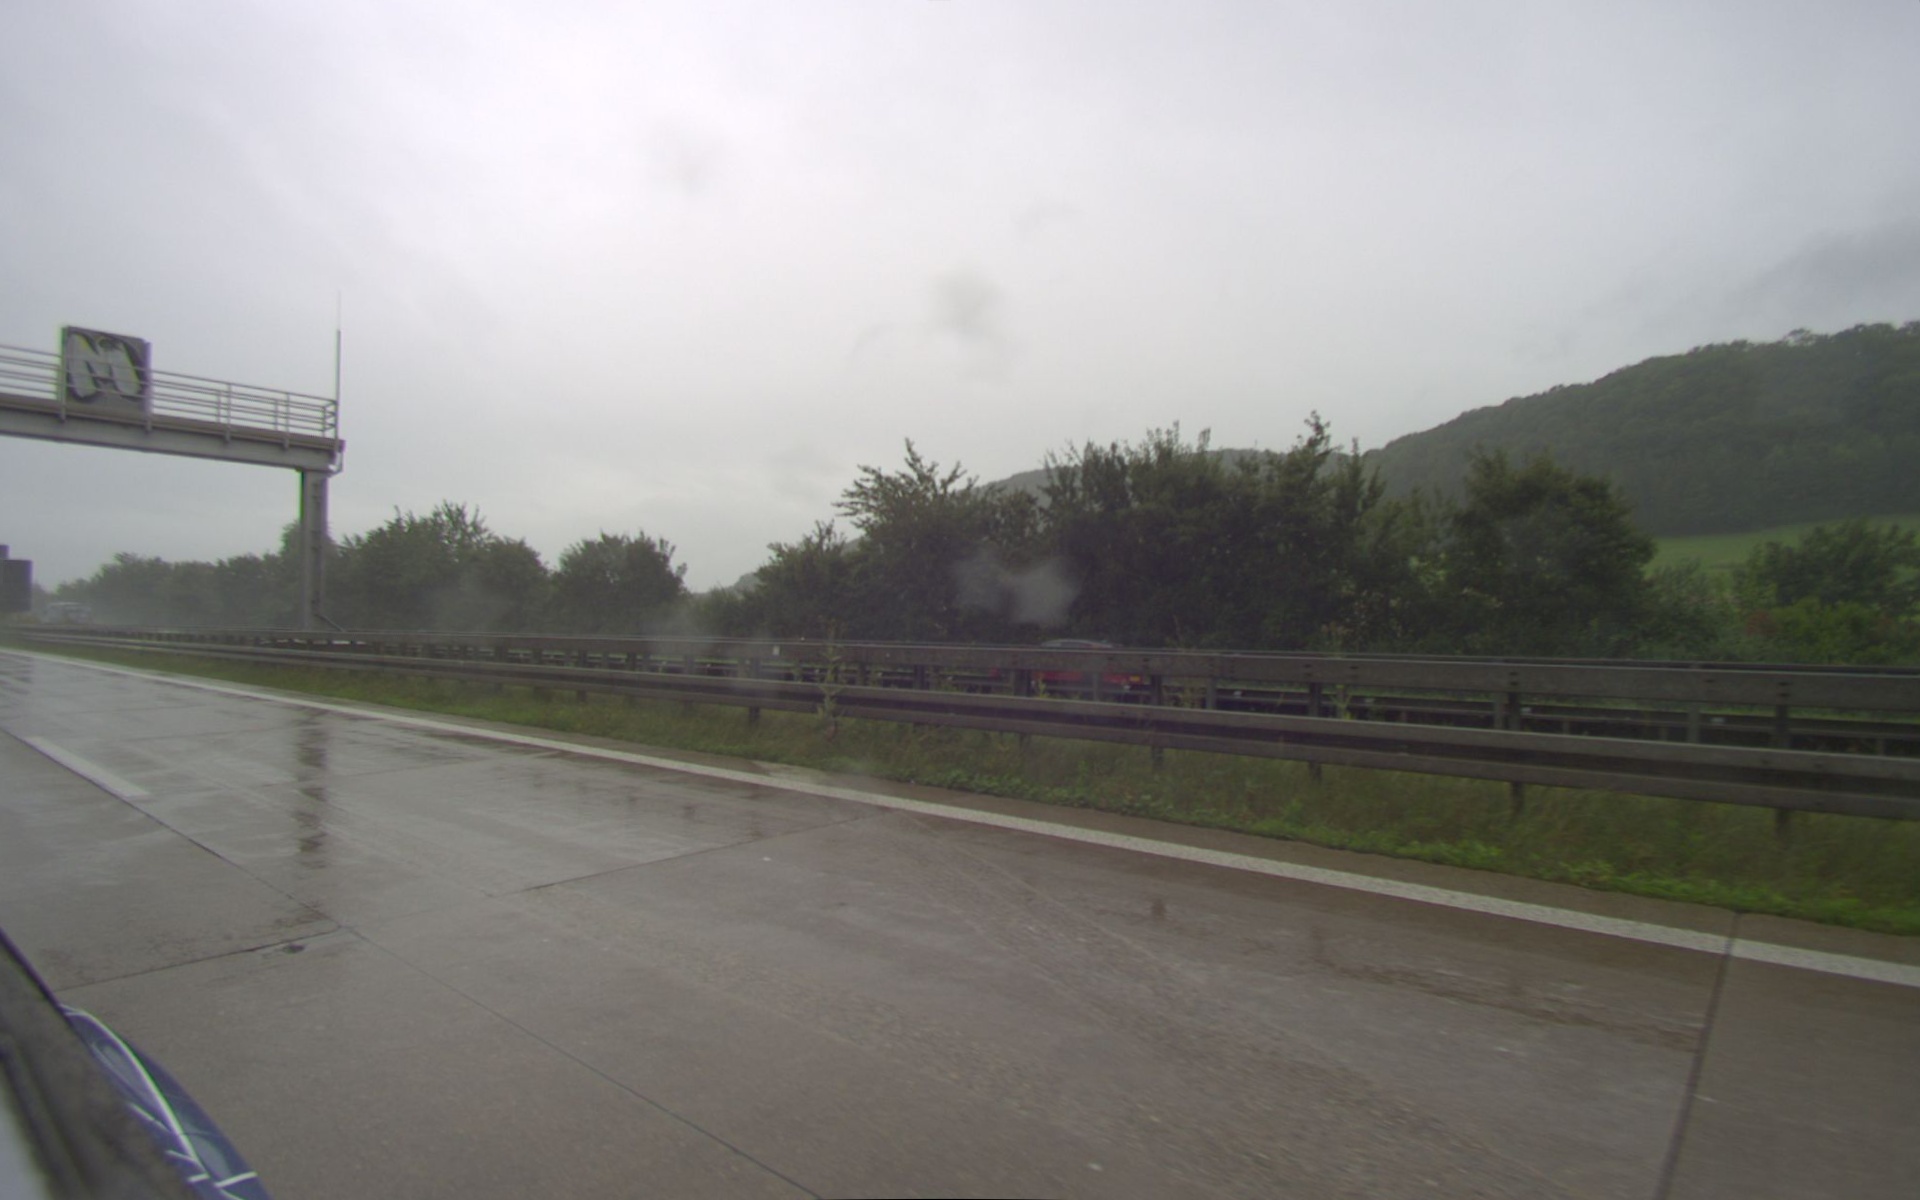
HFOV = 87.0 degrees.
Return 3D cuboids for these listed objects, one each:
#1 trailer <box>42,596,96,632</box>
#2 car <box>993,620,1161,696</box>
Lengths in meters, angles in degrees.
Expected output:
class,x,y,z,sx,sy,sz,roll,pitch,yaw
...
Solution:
class,x,y,z,sx,sy,sz,roll,pitch,yaw
trailer,-108.430,1.781,123.095,11.394,4.205,3.321,-1,-1,40
car,3.051,1.459,26.736,3.998,1.796,1.973,-1,0,41
